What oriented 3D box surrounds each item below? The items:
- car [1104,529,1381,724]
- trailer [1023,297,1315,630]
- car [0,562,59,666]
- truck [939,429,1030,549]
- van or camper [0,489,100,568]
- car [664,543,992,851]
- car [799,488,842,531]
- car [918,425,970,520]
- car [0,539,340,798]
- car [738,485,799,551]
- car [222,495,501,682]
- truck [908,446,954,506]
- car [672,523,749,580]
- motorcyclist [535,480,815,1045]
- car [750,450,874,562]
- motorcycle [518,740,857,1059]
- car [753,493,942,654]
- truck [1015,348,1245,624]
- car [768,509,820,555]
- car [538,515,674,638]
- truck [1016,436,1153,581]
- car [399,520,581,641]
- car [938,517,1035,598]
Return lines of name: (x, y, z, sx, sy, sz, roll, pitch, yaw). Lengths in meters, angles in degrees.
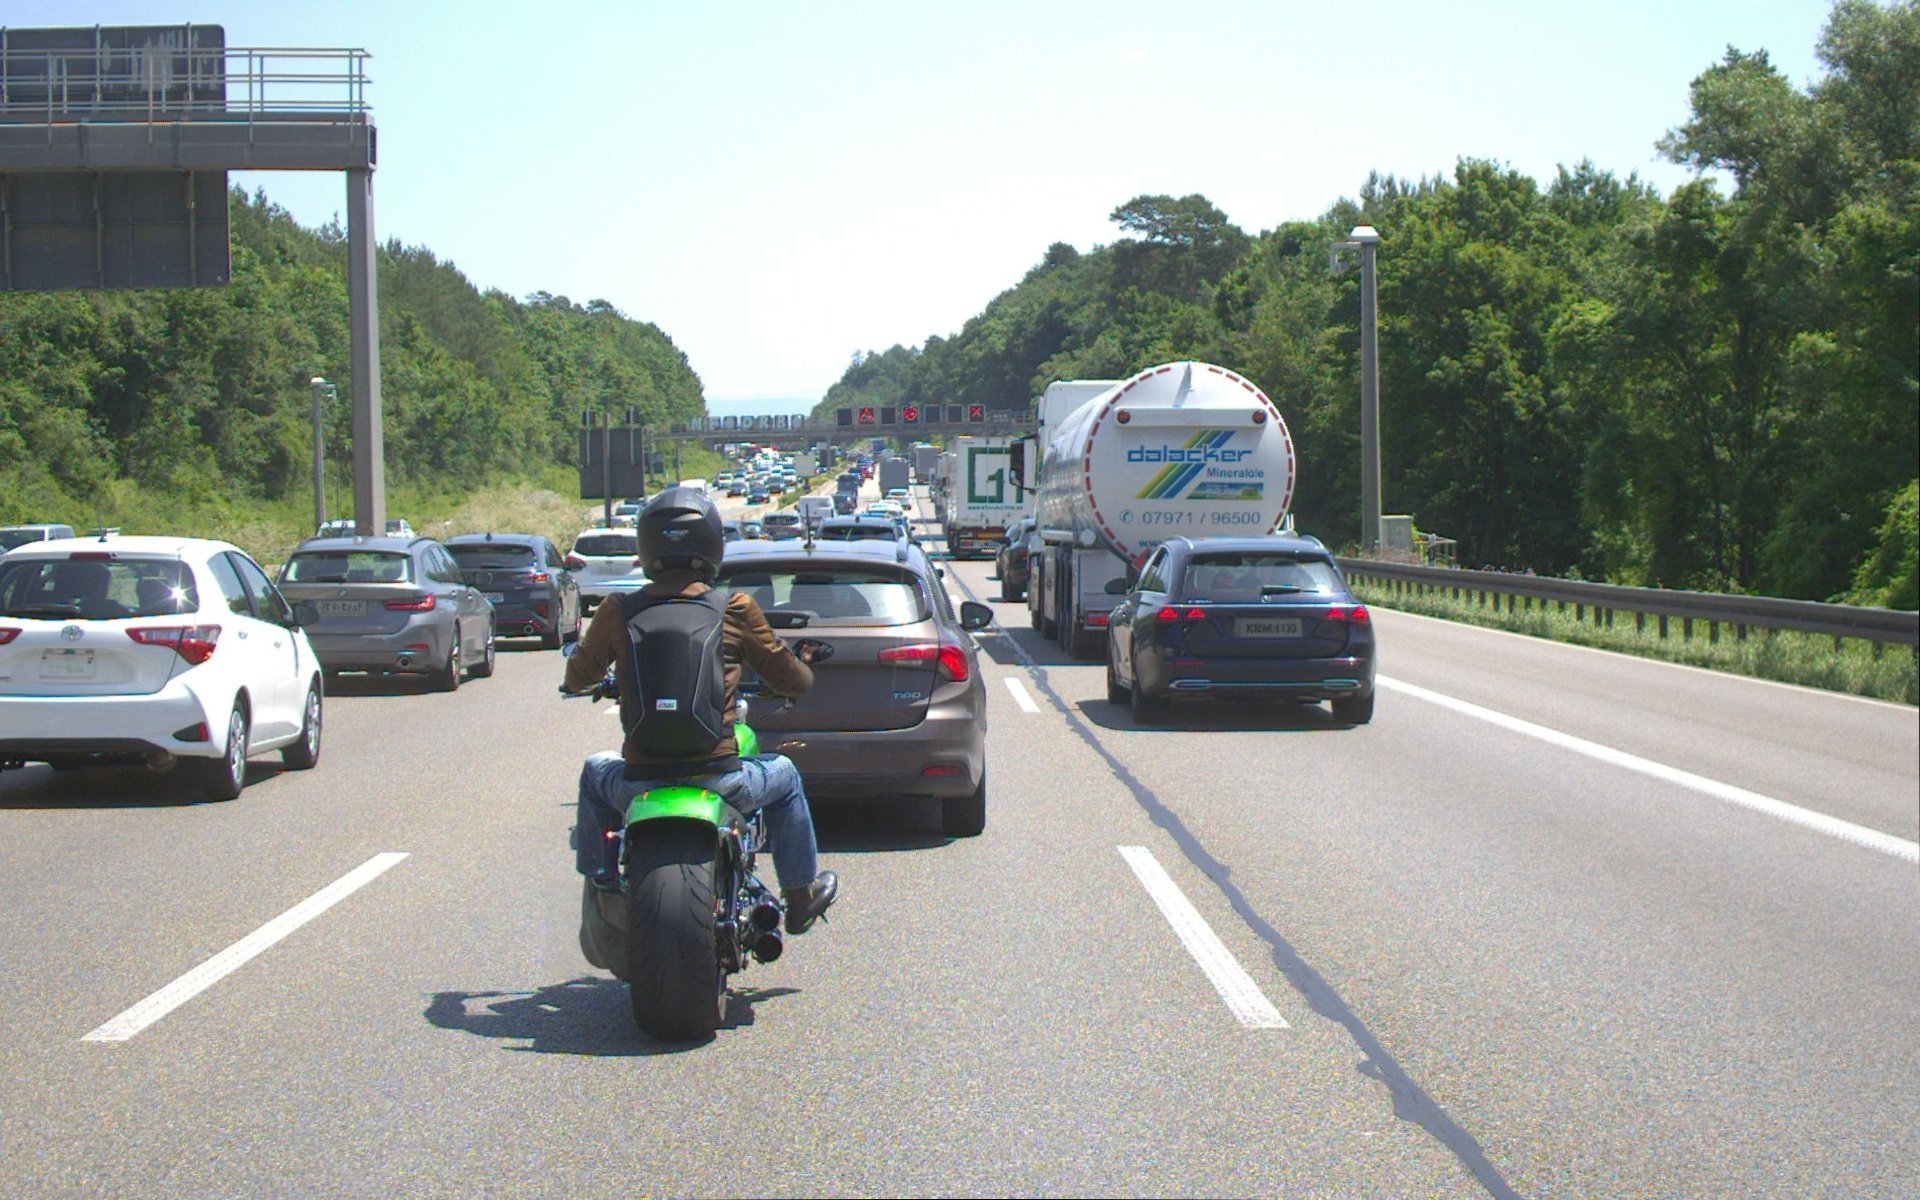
car: (2.210, 0.192, 28.027, 1.792, 1.453, 4.624, 0, 0, -1)
trailer: (2.408, -1.523, 43.377, 2.828, 3.658, 10.733, 0, 0, -1)
car: (-19.514, 0.267, 68.499, 1.993, 2.007, 4.283, 0, 0, 0)
truck: (0.853, -3.660, 115.302, 2.854, 3.808, 7.187, 0, 0, 2)
van or camper: (-24.268, -1.859, 90.740, 1.993, 2.007, 4.681, 0, 0, 0)
car: (-0.657, 0.423, 18.215, 1.541, 1.445, 4.000, 0, 1, -1)
car: (-6.873, -4.454, 169.485, 1.993, 2.007, 4.000, -1, 1, -1)
car: (-0.744, -5.589, 152.305, 2.167, 3.879, 9.330, 0, 0, -1)
car: (-4.952, 0.367, 20.698, 1.776, 1.406, 4.000, 0, 0, -1)
car: (-5.899, -2.513, 106.253, 1.660, 1.971, 4.000, 0, 1, 0)
car: (-5.699, -0.112, 33.245, 1.993, 1.678, 4.330, 0, 0, -1)
truck: (-1.806, -7.517, 209.800, 2.696, 3.394, 10.479, -1, 1, -1)
car: (-6.491, -1.251, 89.757, 1.764, 1.437, 4.000, 0, 0, 0)
motorcyclist: (-0.872, 0.483, 10.764, 0.799, 1.682, 1.016, 0, 0, -1)
car: (-2.463, -1.542, 57.785, 1.993, 1.769, 4.000, 0, 0, -2)
motorcycle: (-0.817, 0.907, 11.020, 0.936, 0.790, 2.299, 0, 1, -1)
car: (-1.260, -0.284, 38.598, 1.993, 1.705, 4.000, 0, 0, -2)
truck: (2.315, -1.519, 48.956, 2.828, 3.658, 6.430, 0, 0, -1)
car: (-5.845, -2.389, 121.613, 1.660, 1.594, 4.000, 0, 1, 0)
car: (-5.994, -0.390, 58.628, 1.993, 2.007, 4.000, 0, 0, -1)
truck: (2.634, -1.961, 74.937, 2.388, 2.969, 8.253, 0, 1, -2)
car: (-5.907, -0.239, 43.648, 1.993, 1.459, 4.000, 0, 0, -4)
car: (0.493, -0.809, 66.920, 1.776, 1.522, 4.000, 0, 0, -1)
